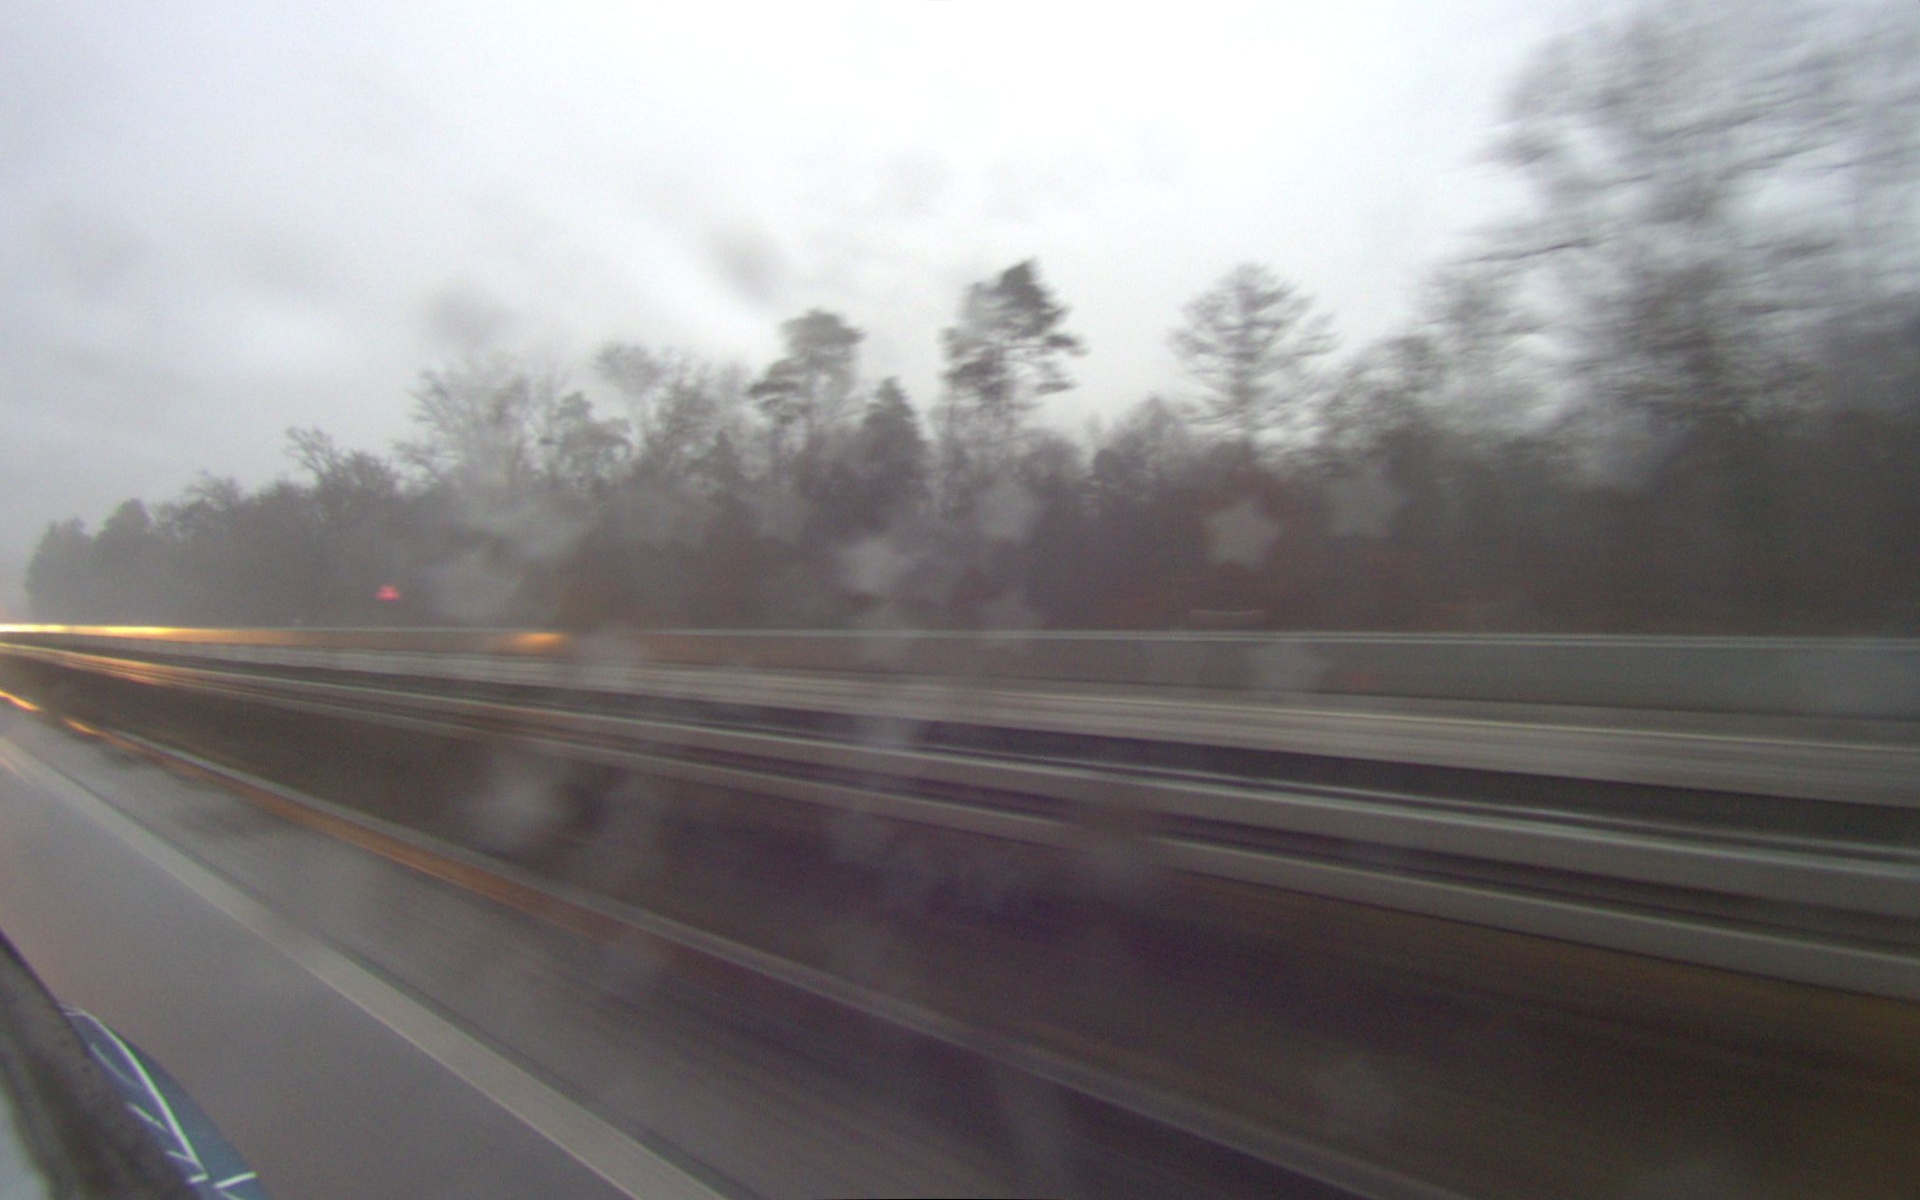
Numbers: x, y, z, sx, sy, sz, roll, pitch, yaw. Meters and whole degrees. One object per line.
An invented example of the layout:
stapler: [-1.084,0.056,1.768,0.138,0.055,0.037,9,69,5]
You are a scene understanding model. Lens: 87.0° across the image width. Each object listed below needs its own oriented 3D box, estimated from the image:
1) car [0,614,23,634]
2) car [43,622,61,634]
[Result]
car: [-96.596,2.446,102.842,3.999,1.896,1.660,-3,0,42]
car: [-110.855,3.407,123.517,1.509,1.427,3.756,0,0,-44]
